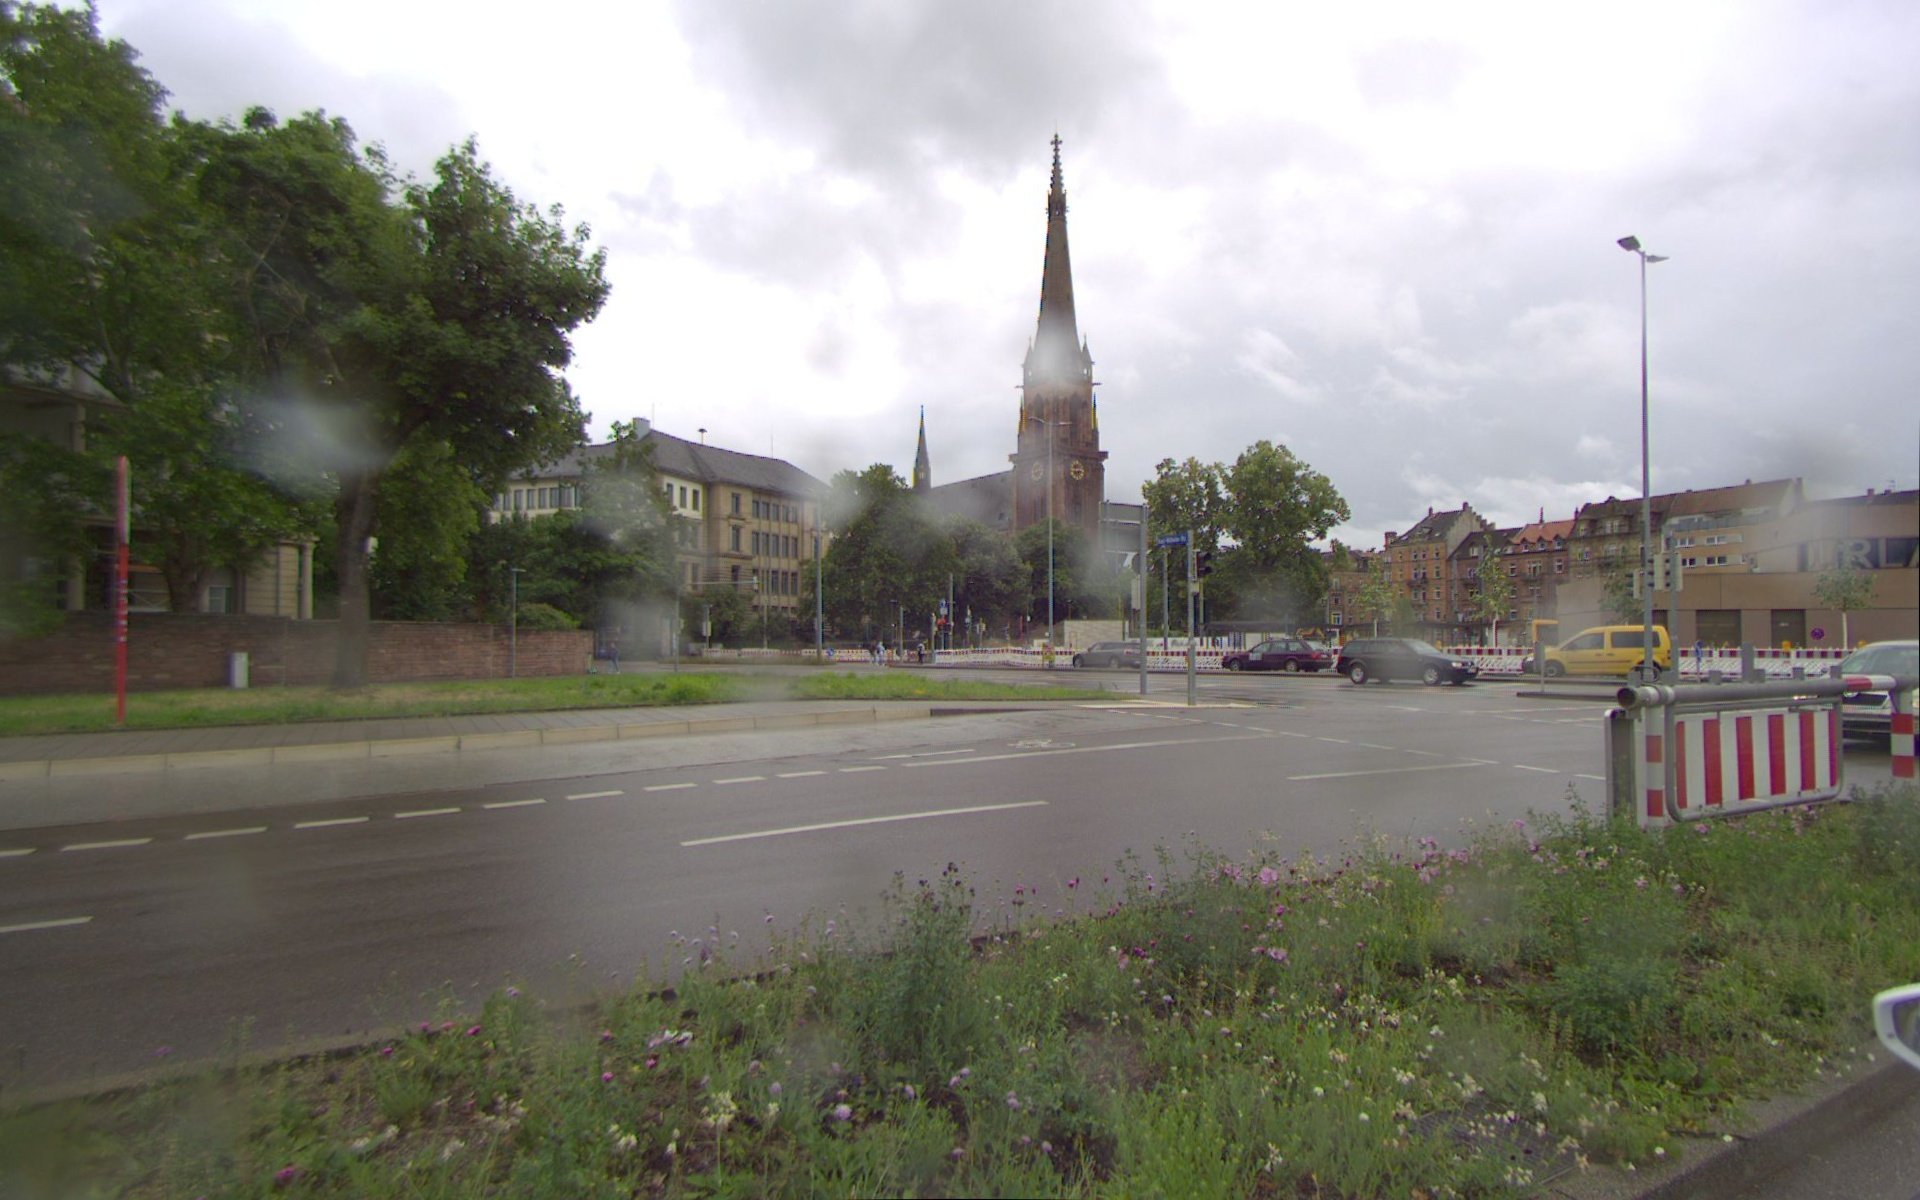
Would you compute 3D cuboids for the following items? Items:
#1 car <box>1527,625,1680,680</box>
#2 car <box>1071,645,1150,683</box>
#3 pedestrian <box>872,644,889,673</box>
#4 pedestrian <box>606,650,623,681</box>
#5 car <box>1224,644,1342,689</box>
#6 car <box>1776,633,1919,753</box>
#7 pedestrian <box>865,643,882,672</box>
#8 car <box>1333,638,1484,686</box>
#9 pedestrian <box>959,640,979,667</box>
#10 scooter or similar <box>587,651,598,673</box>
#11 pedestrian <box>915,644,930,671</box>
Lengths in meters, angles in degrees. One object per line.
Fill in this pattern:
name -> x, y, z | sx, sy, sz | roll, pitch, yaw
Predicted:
car -> 21.272, 1.718, 33.414 | 4.076, 1.728, 1.709 | -1, -2, 27
car -> 7.430, 3.132, 49.787 | 1.695, 1.728, 3.780 | 1, -2, -37
pedestrian -> -5.593, 4.092, 70.720 | 0.945, 2.040, 0.852 | 1, -2, -30
pedestrian -> -17.243, 3.242, 50.114 | 0.663, 1.520, 0.773 | 0, -2, -9
car -> 13.478, 2.745, 42.096 | 4.400, 1.728, 1.701 | -2, -3, 44
car -> 13.080, 1.174, 13.589 | 4.131, 1.434, 1.687 | 1, -2, -28
pedestrian -> -6.149, 4.101, 71.503 | 0.945, 2.040, 0.852 | 1, -2, -30
car -> 14.184, 1.924, 31.985 | 1.602, 1.420, 4.163 | 1, -2, -36
pedestrian -> 0.726, 4.047, 76.591 | 0.981, 2.040, 1.305 | -1, -2, 34
scooter or similar -> -19.378, 3.265, 52.980 | 0.274, 1.096, 1.078 | 0, -2, -4
pedestrian -> -2.573, 3.897, 68.562 | 0.765, 1.801, 0.720 | 1, -2, -30
